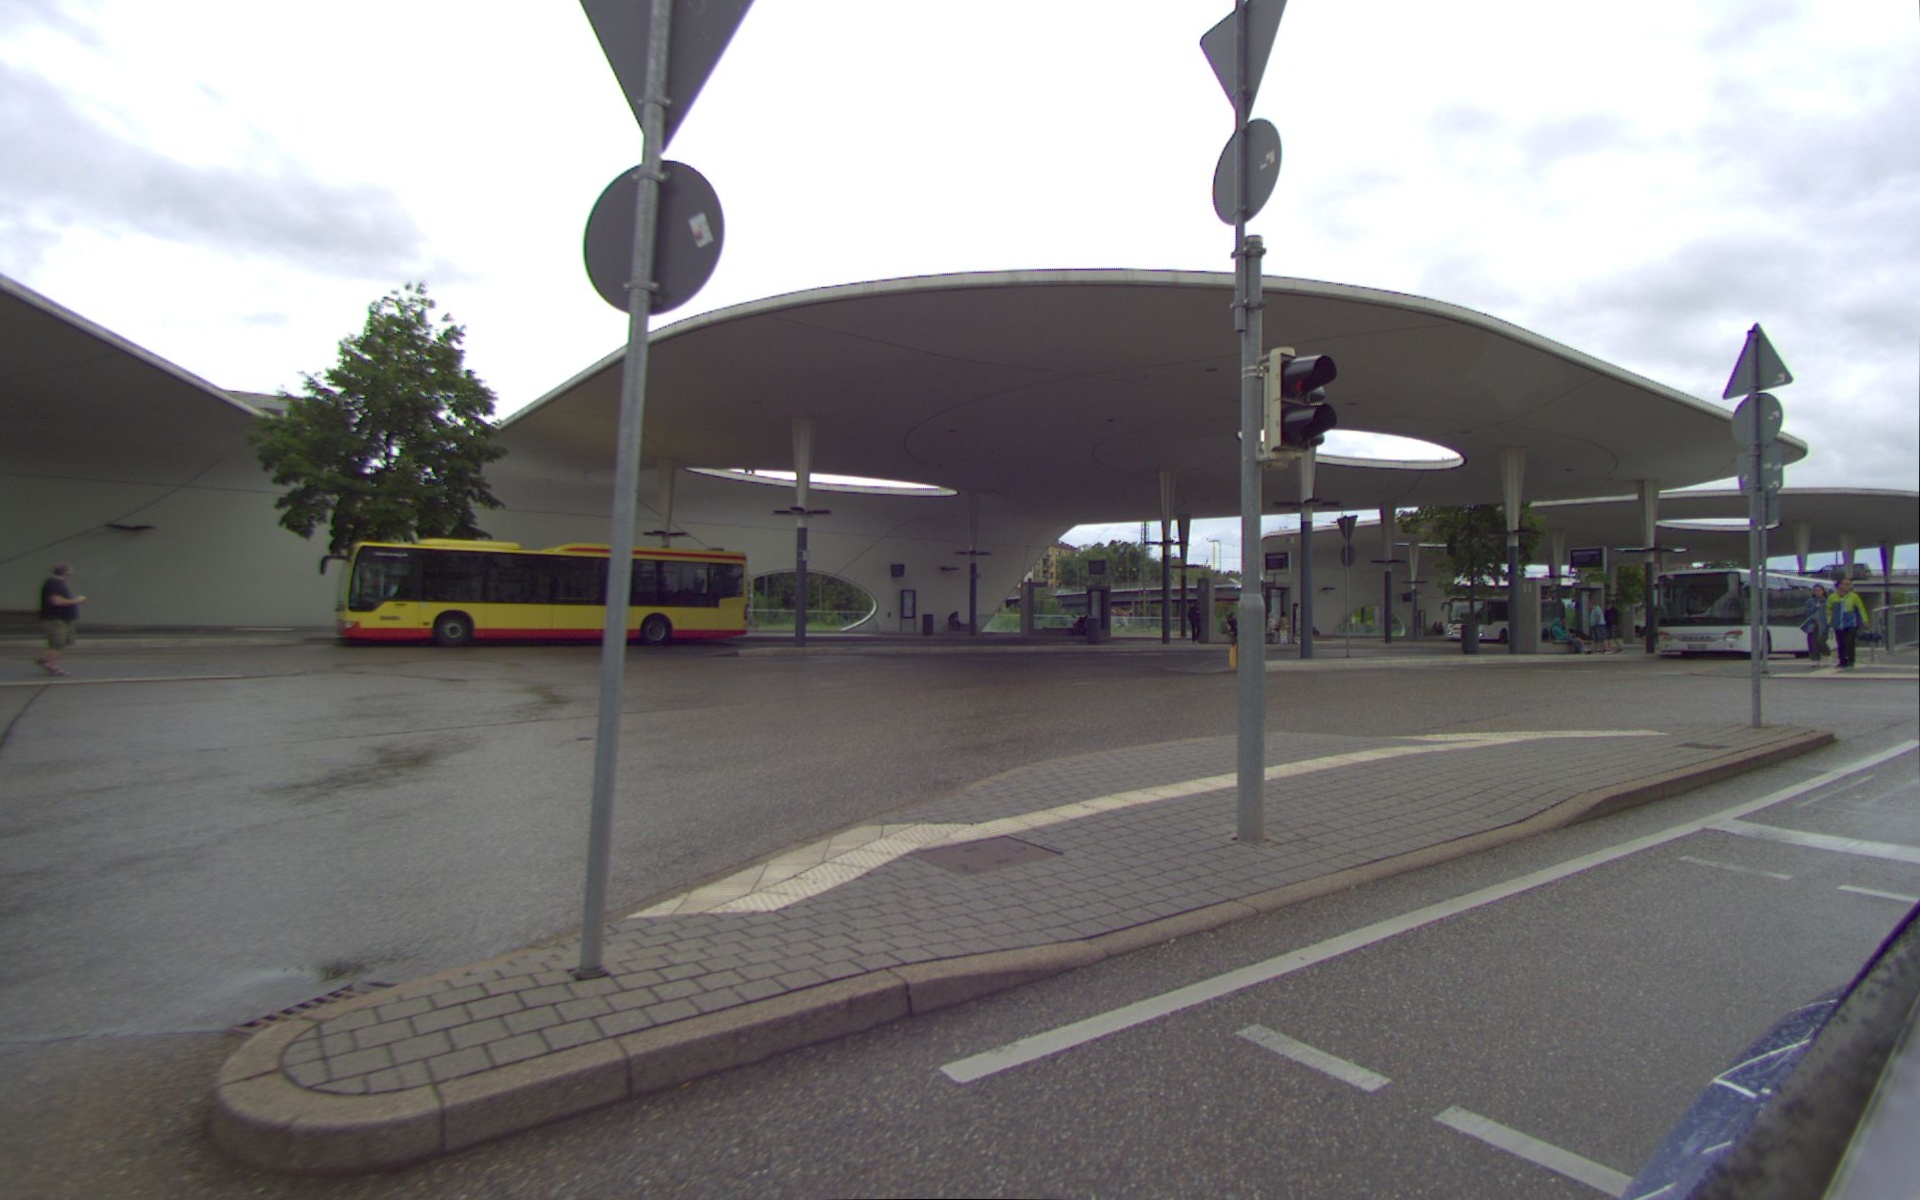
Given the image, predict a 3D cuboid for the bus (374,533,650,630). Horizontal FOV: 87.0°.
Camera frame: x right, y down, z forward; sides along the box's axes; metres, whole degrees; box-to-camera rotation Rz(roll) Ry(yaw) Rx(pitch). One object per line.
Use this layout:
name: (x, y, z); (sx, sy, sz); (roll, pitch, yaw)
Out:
bus: (-17.540, -0.637, 40.222); (9.675, 3.442, 2.522); (1, 0, -38)

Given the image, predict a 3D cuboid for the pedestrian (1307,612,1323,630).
pedestrian: (27.127, 1.629, 77.353); (0.698, 1.341, 0.802); (-3, -2, -31)

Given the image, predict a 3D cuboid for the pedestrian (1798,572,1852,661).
pedestrian: (16.873, 0.319, 19.737); (0.570, 1.691, 0.590); (-4, 0, -36)

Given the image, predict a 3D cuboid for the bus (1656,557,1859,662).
bus: (30.015, 0.331, 37.752); (12.193, 3.404, 2.853); (1, 0, -37)

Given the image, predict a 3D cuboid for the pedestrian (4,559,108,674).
pedestrian: (-14.044, 0.233, 15.729); (0.713, 1.705, 1.011); (2, 1, 28)

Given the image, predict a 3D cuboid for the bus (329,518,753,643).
bus: (-12.513, -0.530, 31.505); (11.918, 3.298, 2.795); (0, 0, -38)

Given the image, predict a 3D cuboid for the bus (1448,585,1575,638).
bus: (37.588, 0.760, 68.693); (11.913, 3.298, 2.796); (1, 0, -37)

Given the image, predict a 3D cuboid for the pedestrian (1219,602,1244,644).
pedestrian: (10.699, 0.902, 39.917); (0.666, 1.610, 0.589); (-3, -2, -40)

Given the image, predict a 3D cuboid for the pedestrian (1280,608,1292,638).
pedestrian: (13.144, 0.923, 40.832); (0.357, 1.159, 0.395); (1, 0, 5)

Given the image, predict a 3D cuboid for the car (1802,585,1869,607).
car: (86.682, -0.383, 100.211); (2.077, 1.993, 4.679); (0, -2, -39)

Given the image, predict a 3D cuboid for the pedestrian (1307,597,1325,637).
pedestrian: (15.062, 0.714, 42.850); (0.633, 1.675, 0.637); (1, 0, 14)

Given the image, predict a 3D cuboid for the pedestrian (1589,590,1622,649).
pedestrian: (21.747, 0.657, 34.096); (0.635, 1.910, 0.587); (4, 0, -26)

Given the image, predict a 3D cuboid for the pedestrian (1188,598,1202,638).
pedestrian: (9.003, 0.690, 38.719); (0.514, 1.521, 0.380); (1, 0, 14)

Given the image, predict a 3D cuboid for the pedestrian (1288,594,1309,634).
pedestrian: (14.182, 0.591, 42.367); (0.546, 1.675, 0.571); (1, 0, -30)

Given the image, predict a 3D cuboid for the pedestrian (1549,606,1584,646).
pedestrian: (20.634, 0.892, 34.440); (0.945, 1.271, 0.642); (4, 0, 31)

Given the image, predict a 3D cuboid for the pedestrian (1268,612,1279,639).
pedestrian: (12.683, 1.036, 40.918); (0.346, 1.094, 0.392); (1, 0, 5)

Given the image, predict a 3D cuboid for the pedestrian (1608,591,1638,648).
pedestrian: (23.320, 0.686, 35.614); (0.640, 1.928, 0.583); (4, 0, 18)

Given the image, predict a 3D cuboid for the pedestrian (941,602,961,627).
pedestrian: (-0.485, 0.830, 57.036); (0.786, 1.341, 0.711); (-3, -2, -33)

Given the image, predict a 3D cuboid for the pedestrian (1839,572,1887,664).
pedestrian: (17.027, 0.329, 19.088); (0.570, 1.691, 0.524); (-2, 0, -36)

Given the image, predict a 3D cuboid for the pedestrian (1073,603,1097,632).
pedestrian: (5.953, 0.825, 48.061); (0.785, 1.341, 0.712); (-3, -1, -28)

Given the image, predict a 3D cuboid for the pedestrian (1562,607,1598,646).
pedestrian: (21.361, 0.915, 34.881); (0.945, 1.271, 0.642); (4, 0, 31)
